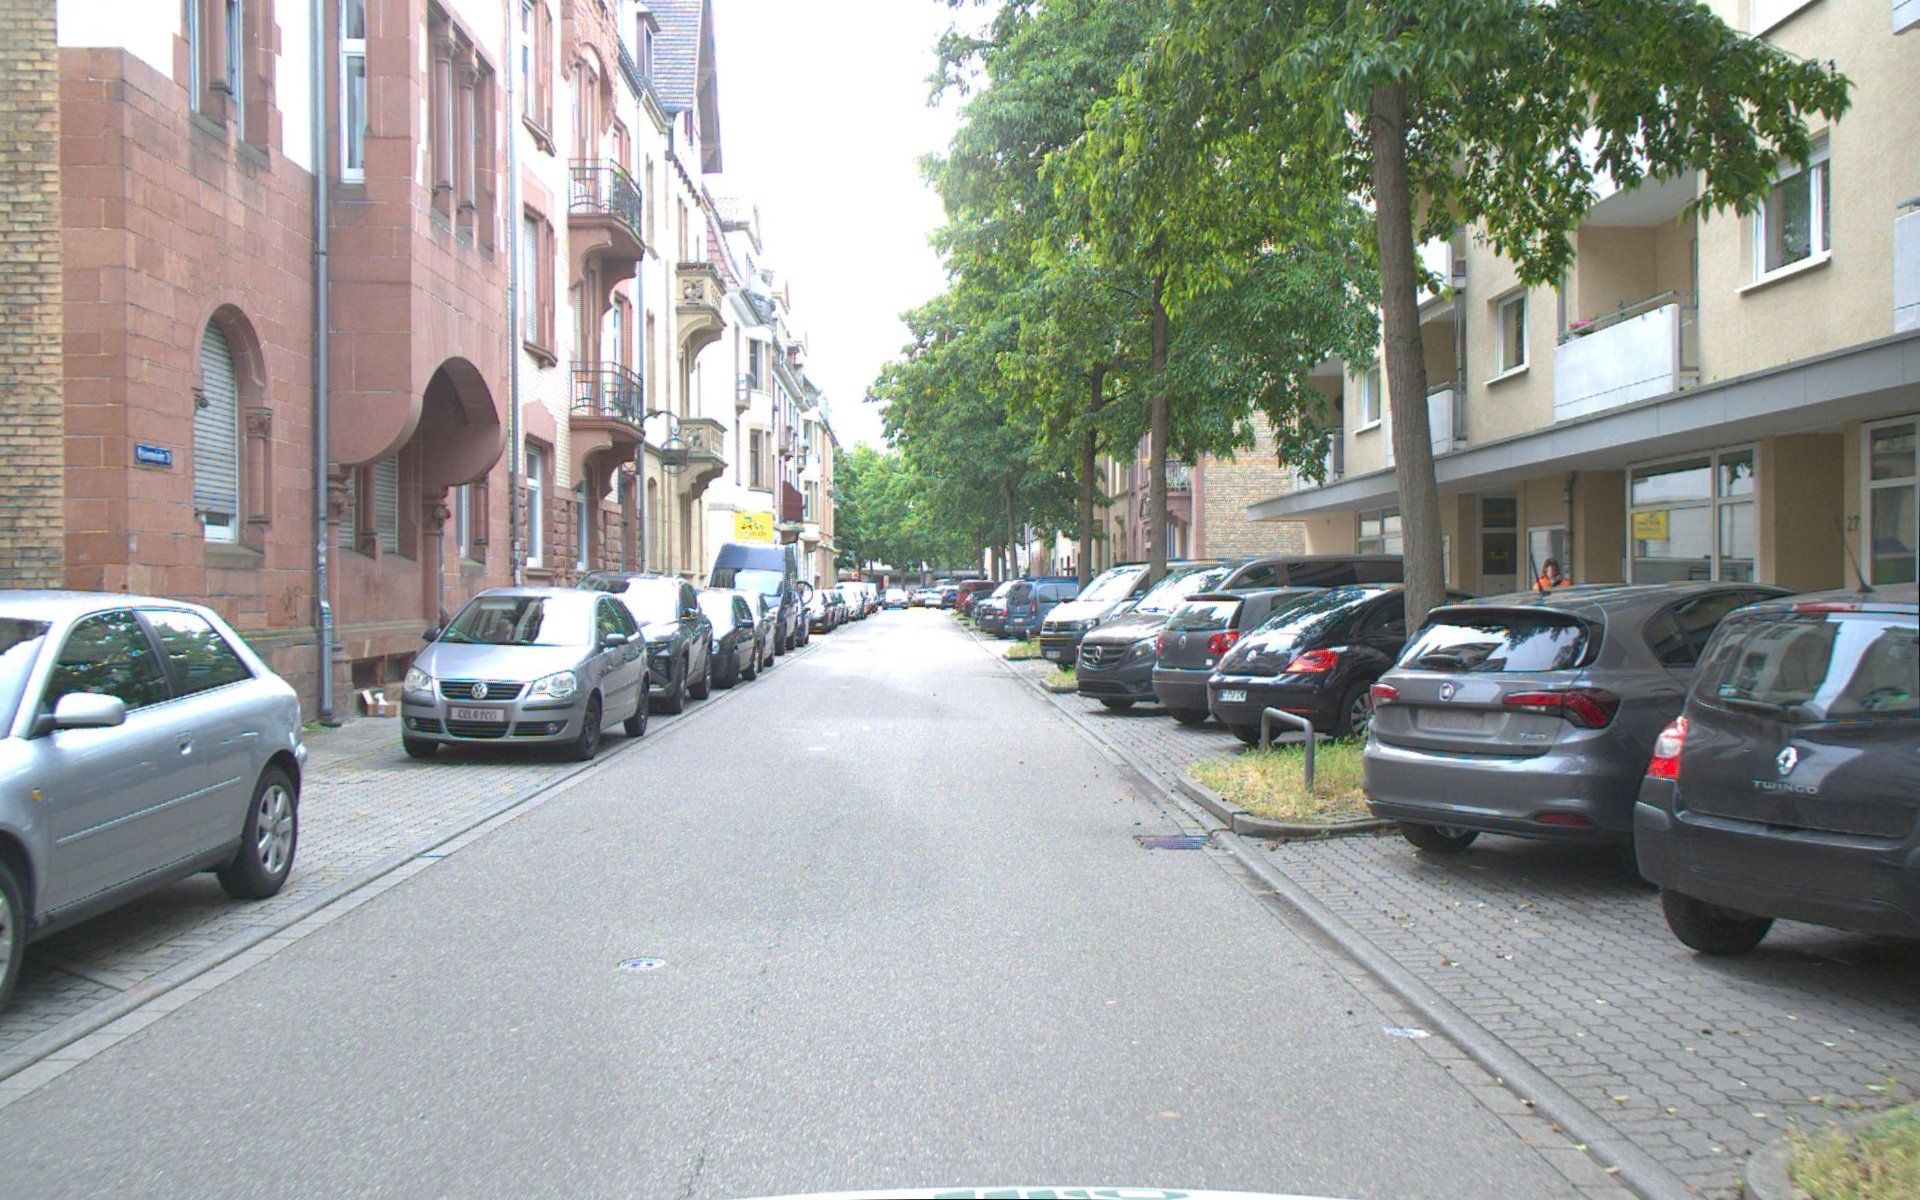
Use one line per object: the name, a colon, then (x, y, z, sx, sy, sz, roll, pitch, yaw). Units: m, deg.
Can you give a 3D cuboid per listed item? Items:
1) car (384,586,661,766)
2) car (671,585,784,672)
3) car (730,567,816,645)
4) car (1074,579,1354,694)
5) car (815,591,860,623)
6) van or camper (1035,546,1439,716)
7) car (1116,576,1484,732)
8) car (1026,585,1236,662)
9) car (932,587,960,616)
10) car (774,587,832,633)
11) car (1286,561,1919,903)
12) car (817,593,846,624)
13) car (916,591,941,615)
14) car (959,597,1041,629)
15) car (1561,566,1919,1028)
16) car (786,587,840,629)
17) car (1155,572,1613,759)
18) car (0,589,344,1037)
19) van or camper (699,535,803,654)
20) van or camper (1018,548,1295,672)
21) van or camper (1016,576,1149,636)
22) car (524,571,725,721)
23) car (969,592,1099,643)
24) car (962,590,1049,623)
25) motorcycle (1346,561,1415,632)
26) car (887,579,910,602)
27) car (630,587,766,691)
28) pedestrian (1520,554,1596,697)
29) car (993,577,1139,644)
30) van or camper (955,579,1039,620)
car: (-3.947, 0.609, 15.538, 1.629, 1.445, 3.928, 1, 0, -2)
car: (-4.314, 0.531, 31.207, 1.634, 1.499, 3.998, 1, -1, -1)
car: (-5.125, 0.151, 45.878, 1.953, 2.049, 4.890, 0, 0, -1)
car: (3.857, 0.512, 24.918, 3.959, 1.470, 1.821, -3, 1, -33)
car: (-5.943, 0.320, 80.578, 1.953, 1.501, 3.999, 0, 0, -1)
van or camper: (3.638, 0.342, 21.525, 4.952, 1.902, 2.106, -2, 0, -30)
car: (3.863, 0.547, 18.722, 3.810, 1.528, 1.893, -2, 0, -31)
car: (3.719, 0.475, 35.781, 4.262, 1.417, 1.901, -3, 1, -33)
car: (-1.052, 0.115, 124.886, 1.953, 2.049, 3.998, 3, 0, -2)
car: (-5.402, 0.339, 57.406, 1.753, 1.506, 4.021, 1, 0, -2)
car: (4.150, 0.598, 9.675, 4.172, 1.527, 1.954, -2, 0, -32)
car: (-5.669, 0.354, 73.035, 1.113, 1.332, 3.259, 0, 0, -2)
car: (-2.516, 0.253, 131.705, 1.953, 1.825, 3.998, 1, -1, -2)
car: (1.874, 0.606, 78.362, 3.689, 1.490, 1.726, 0, 0, -7)
car: (4.401, 0.606, 6.736, 3.316, 1.523, 1.838, -2, 0, -24)
car: (-5.566, 0.298, 62.991, 1.792, 1.451, 3.800, 3, 0, -2)
car: (4.065, 0.551, 15.819, 3.992, 1.509, 1.930, -2, 0, -28)
car: (-3.975, 0.683, 6.428, 1.691, 1.411, 4.135, 1, 0, -2)
van or camper: (-5.008, -0.132, 40.223, 1.967, 2.698, 5.314, 0, 0, -1)
van or camper: (3.611, 0.176, 30.236, 4.674, 2.029, 1.982, -2, -2, -27)
van or camper: (4.601, 0.220, 61.857, 4.730, 2.175, 2.032, 0, 0, -33)
car: (-4.134, 0.503, 21.025, 1.750, 1.675, 4.360, 1, 0, -2)
car: (2.467, 0.552, 54.525, 3.972, 1.587, 1.863, 0, 0, -33)
car: (2.003, 0.285, 73.798, 3.689, 1.490, 1.726, 0, 0, -7)
motorcycle: (8.314, -0.074, 32.763, 0.664, 1.323, 2.252, -3, 0, -2)
car: (-4.839, -0.752, 130.366, 1.784, 1.674, 3.752, 1, -1, -2)
car: (-4.094, 0.566, 26.369, 1.601, 1.498, 3.999, 1, 0, -1)
pedestrian: (7.610, 0.319, 21.082, 0.611, 1.772, 0.849, -1, 0, -1)
car: (3.318, 0.322, 51.722, 4.131, 1.902, 1.979, -2, 0, -32)
van or camper: (1.963, -0.037, 87.787, 4.102, 2.122, 1.933, -1, 0, -30)
